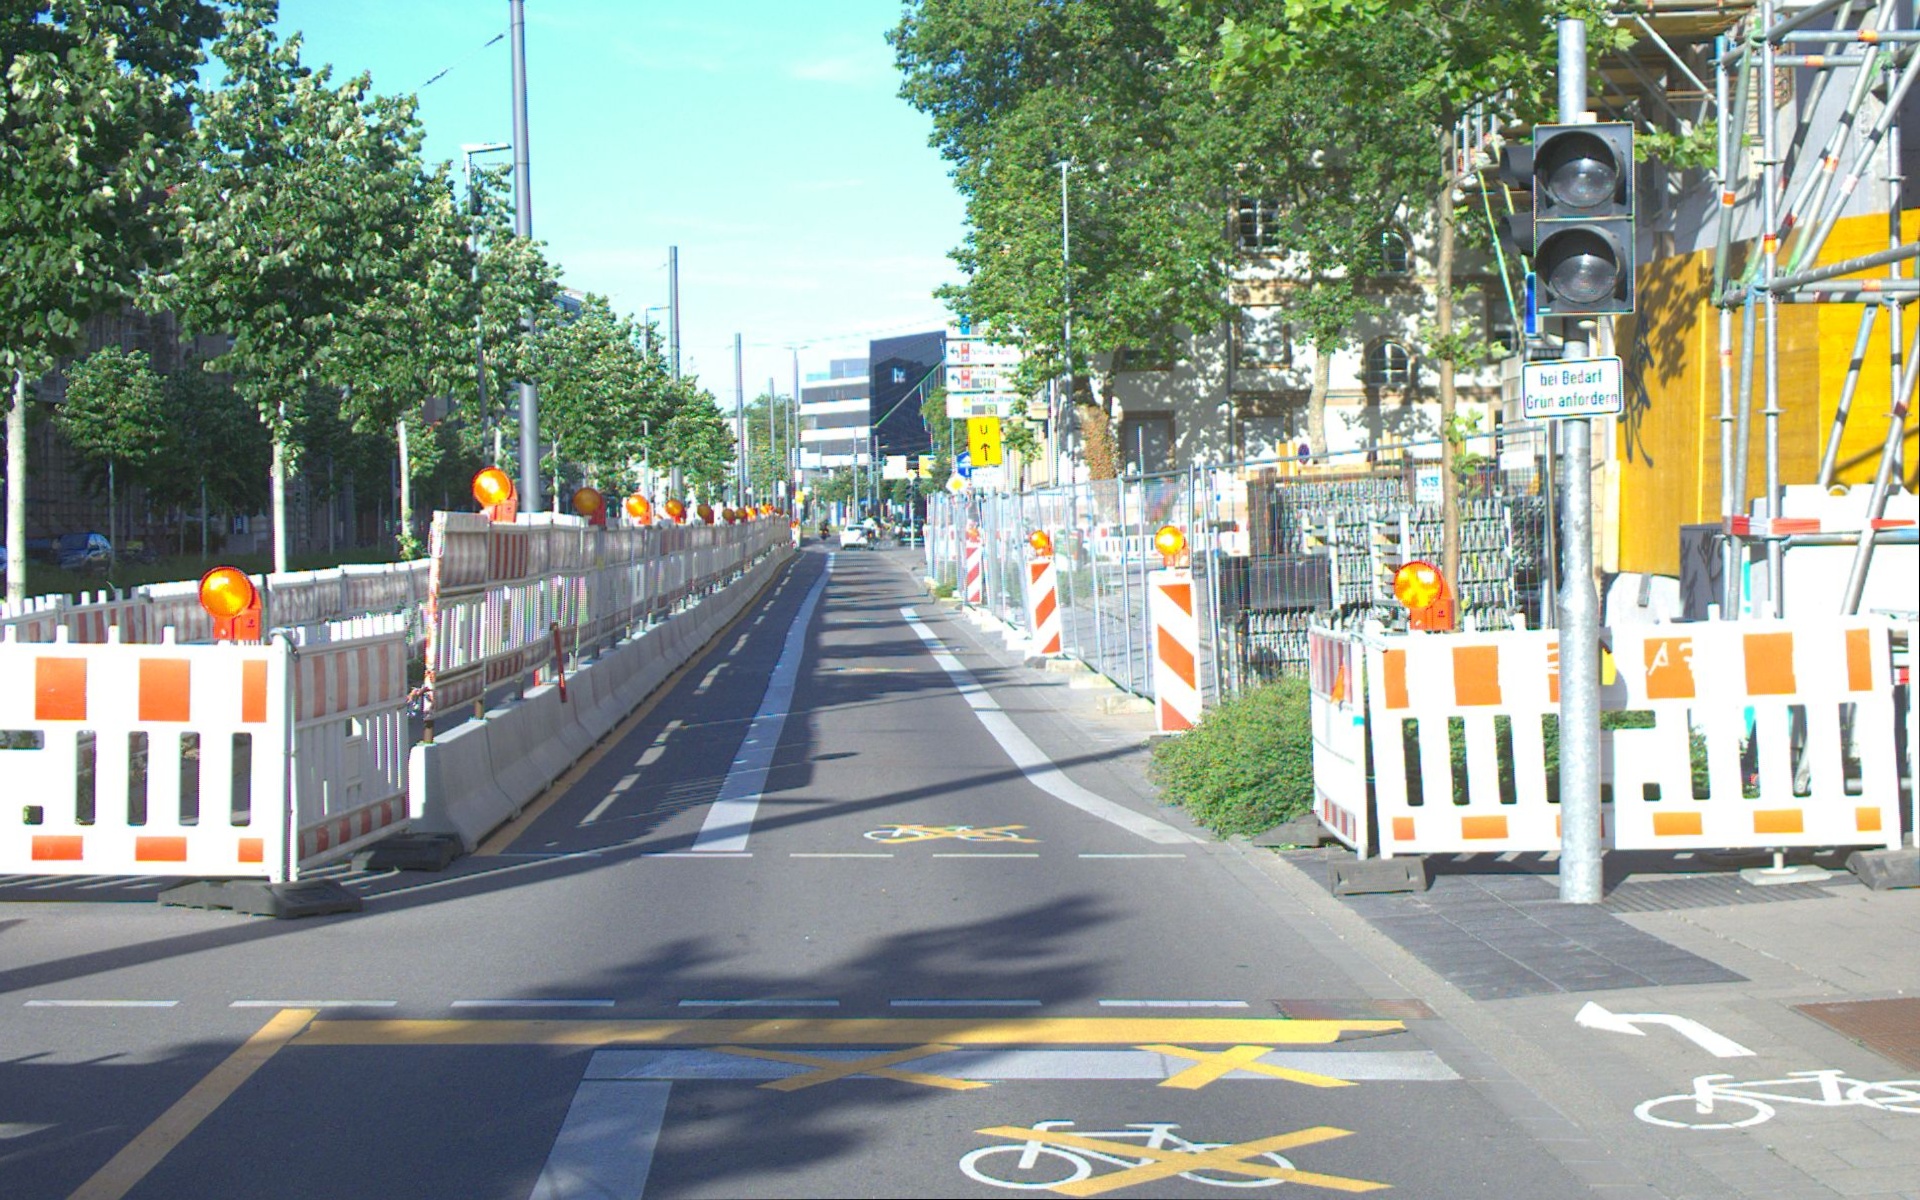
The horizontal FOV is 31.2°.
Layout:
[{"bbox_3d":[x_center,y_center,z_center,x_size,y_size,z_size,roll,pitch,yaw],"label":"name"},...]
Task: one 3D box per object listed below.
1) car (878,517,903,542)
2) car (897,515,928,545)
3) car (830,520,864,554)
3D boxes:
[{"bbox_3d":[-5.290,-5.403,261.354,1.883,1.836,3.668,-1,2,-2],"label":"car"},{"bbox_3d":[-3.013,-4.471,217.899,1.883,1.836,3.668,-1,2,-2],"label":"car"},{"bbox_3d":[-6.309,-3.516,192.353,1.883,1.836,3.668,-1,2,-2],"label":"car"}]
